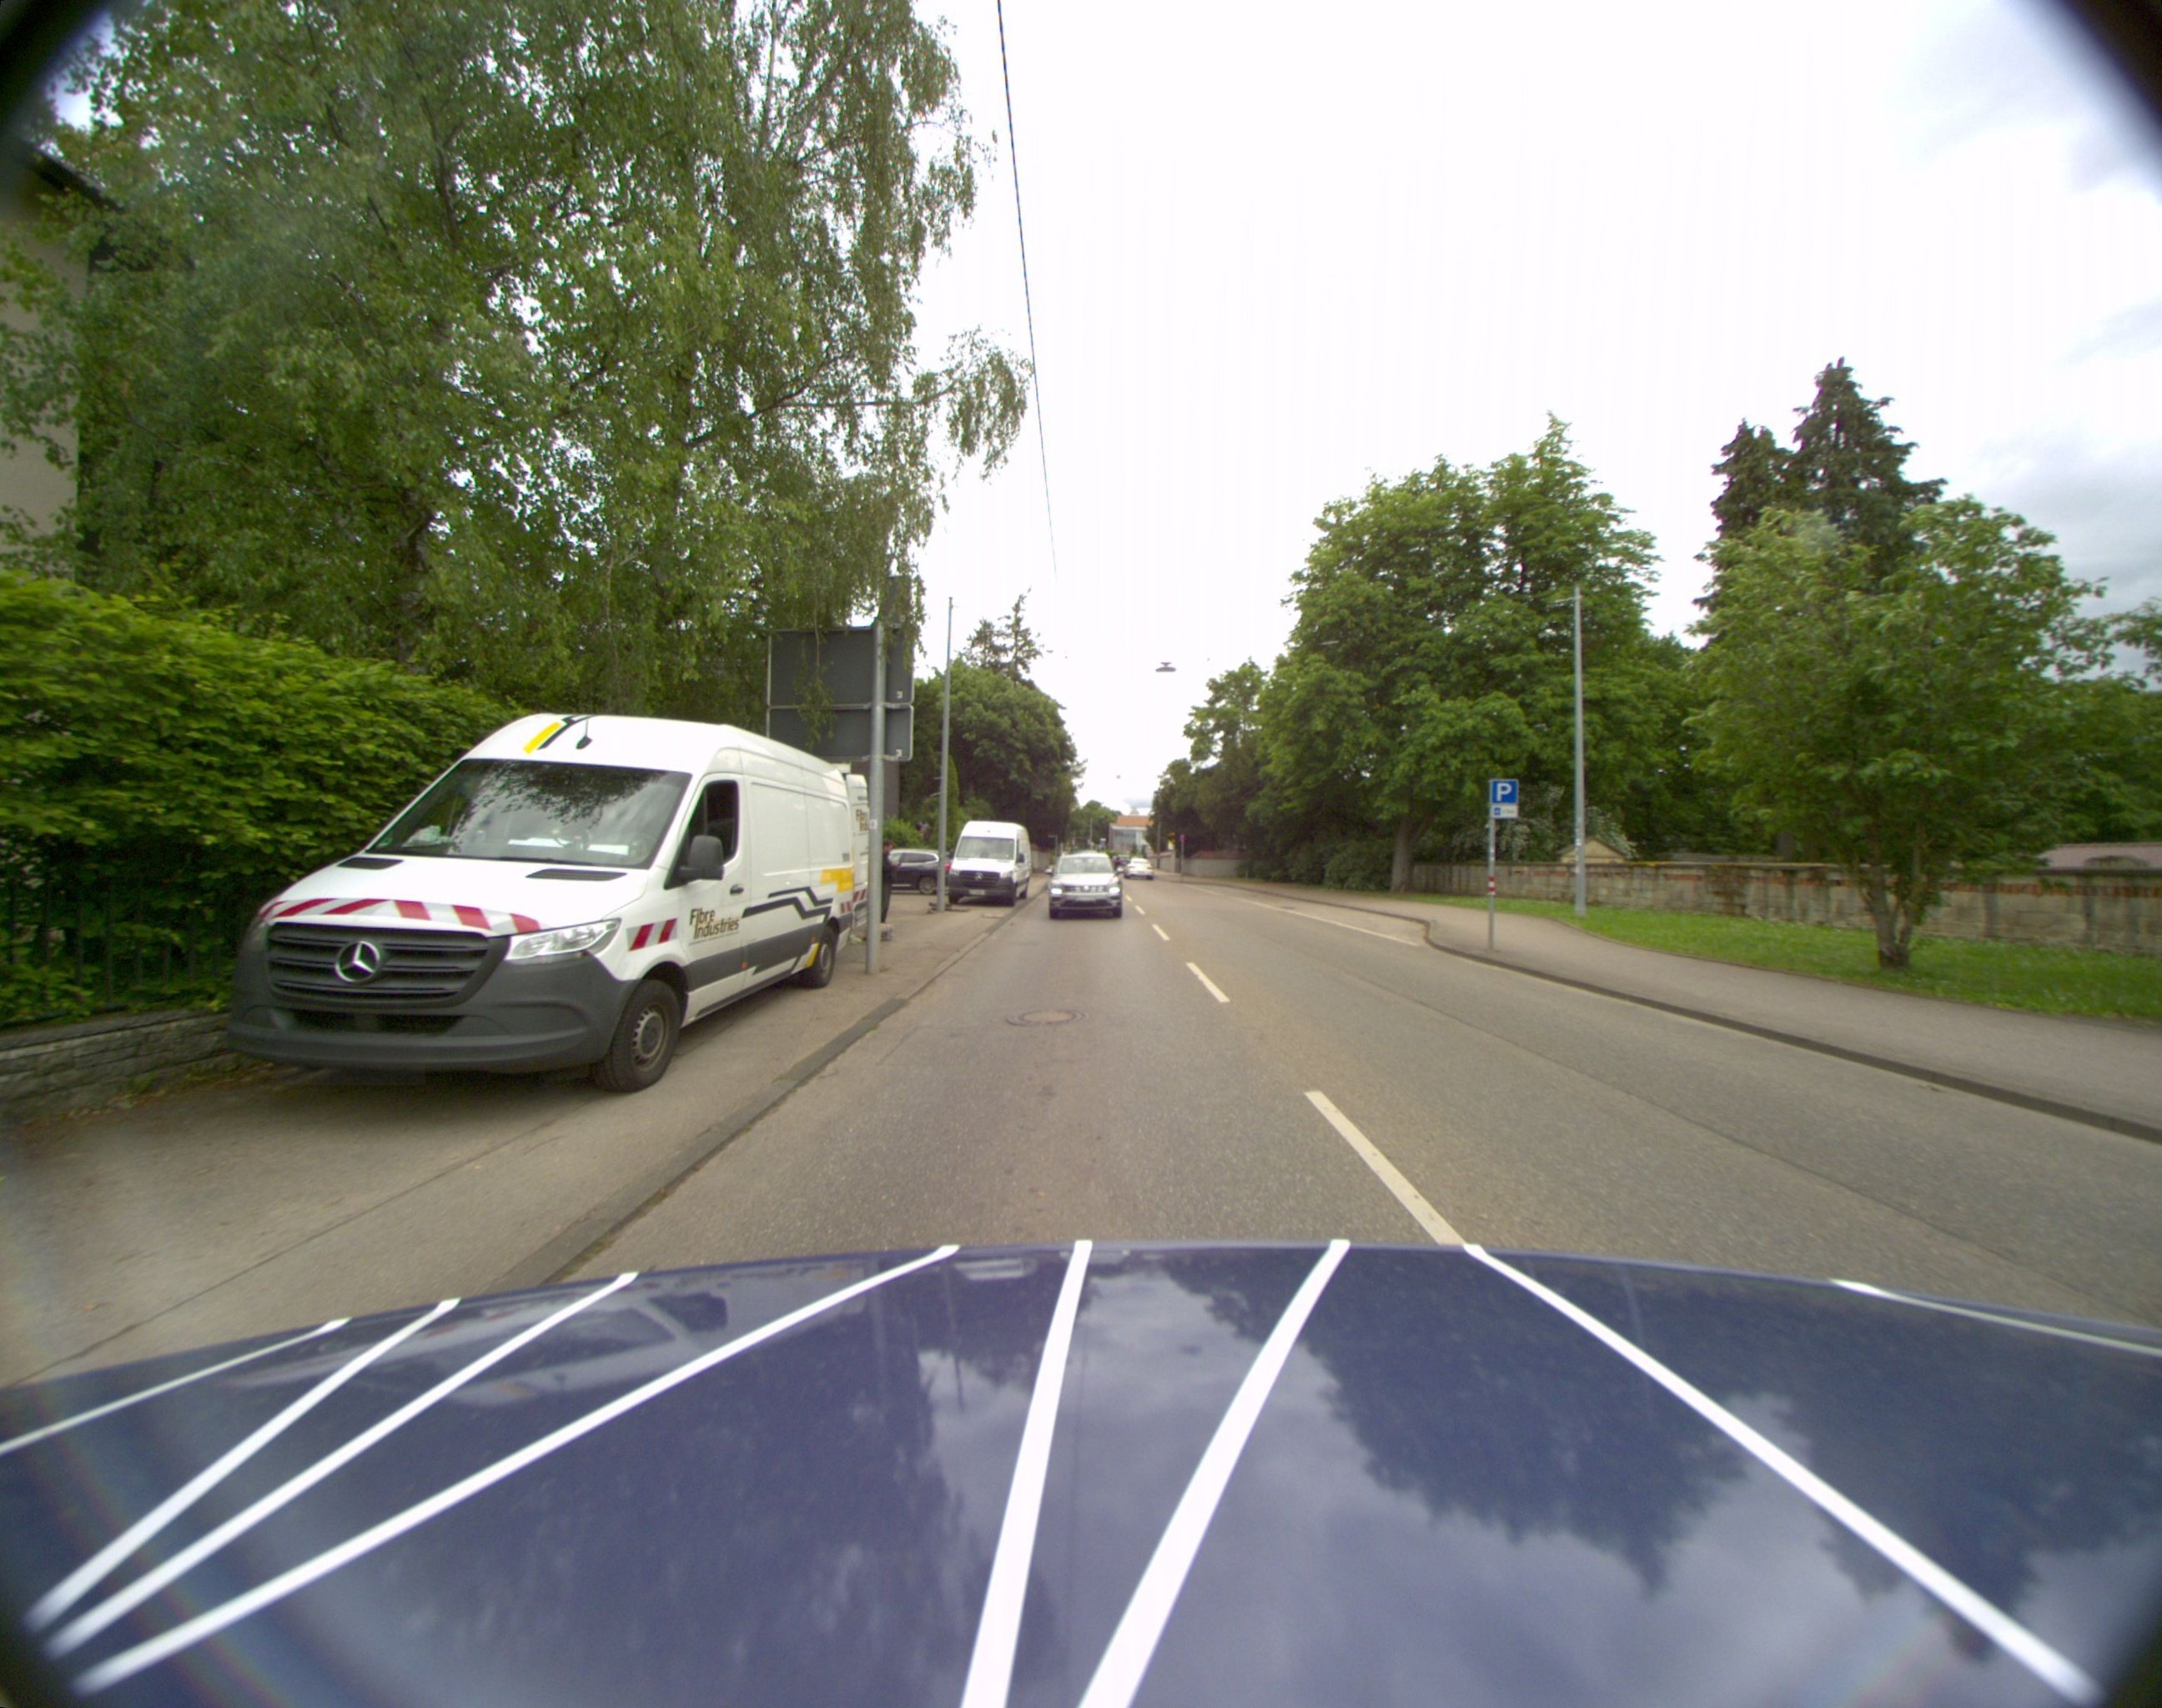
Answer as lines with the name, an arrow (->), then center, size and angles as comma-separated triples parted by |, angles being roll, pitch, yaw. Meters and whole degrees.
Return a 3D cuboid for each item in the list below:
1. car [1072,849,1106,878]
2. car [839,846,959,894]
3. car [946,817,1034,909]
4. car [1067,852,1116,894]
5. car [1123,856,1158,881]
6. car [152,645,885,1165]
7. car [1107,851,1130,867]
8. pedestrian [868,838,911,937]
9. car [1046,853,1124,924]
car -> 0.436, 0.548, 45.791 | 1.835, 1.610, 4.487 | -1, 1, -3
car -> -6.716, 0.583, 28.335 | 3.997, 1.718, 1.859 | 0, 1, 0
car -> -2.795, 0.241, 24.804 | 2.046, 2.588, 5.966 | 2, 0, 0
car -> 0.394, 0.760, 32.596 | 1.835, 1.610, 4.487 | -1, 1, -3
car -> 4.040, 0.980, 52.071 | 1.913, 1.484, 3.999 | 4, 0, -2
car -> -3.714, 0.259, 7.206 | 2.095, 2.589, 6.680 | 2, 0, -2
car -> 3.862, 0.529, 78.303 | 1.913, 1.484, 3.999 | 4, 0, -2
pedestrian -> -3.638, 0.622, 14.480 | 0.640, 1.820, 0.787 | 0, 1, -2
car -> 0.000, 0.807, 20.179 | 1.835, 1.610, 4.487 | -1, 1, -3
